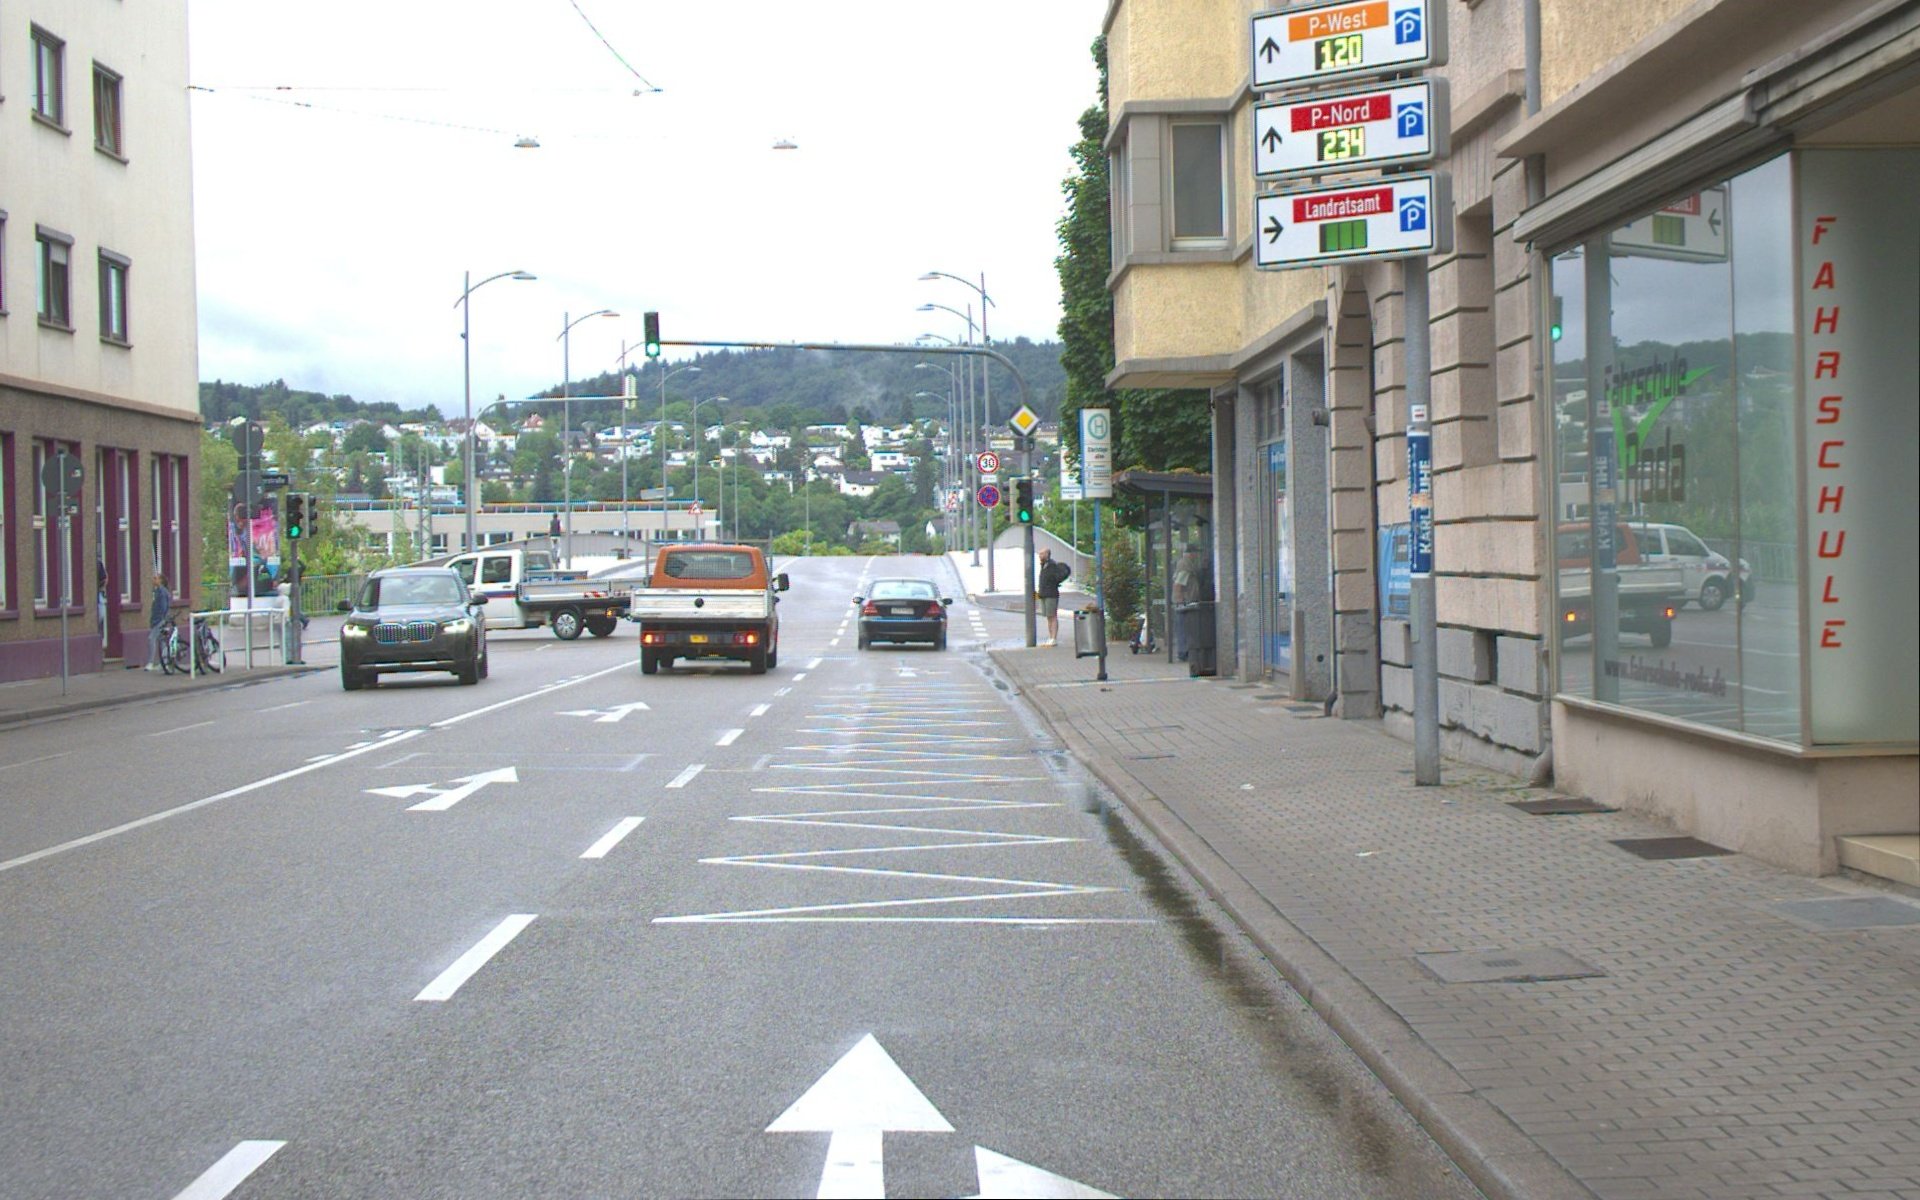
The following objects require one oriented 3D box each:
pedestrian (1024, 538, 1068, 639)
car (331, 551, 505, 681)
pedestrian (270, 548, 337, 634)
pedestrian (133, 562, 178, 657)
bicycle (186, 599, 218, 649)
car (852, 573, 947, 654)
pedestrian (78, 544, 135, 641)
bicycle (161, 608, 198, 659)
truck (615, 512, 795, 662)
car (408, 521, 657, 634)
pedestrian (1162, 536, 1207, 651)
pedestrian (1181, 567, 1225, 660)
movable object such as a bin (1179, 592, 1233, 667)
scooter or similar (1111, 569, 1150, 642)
[{"bbox_3d":[1.580,-0.208,63.269,0.733,1.835,0.631,-1,0,-2],"label":"pedestrian"},{"bbox_3d":[-7.712,0.201,49.325,1.930,1.751,4.573,-1,0,-3],"label":"car"},{"bbox_3d":[-15.592,-0.221,81.643,0.984,2.007,1.171,-1,0,36],"label":"pedestrian"},{"bbox_3d":[-13.256,0.153,56.666,0.574,1.548,0.740,-1,0,-4],"label":"pedestrian"},{"bbox_3d":[-12.183,0.381,55.250,0.264,0.780,1.111,-1,0,-1],"label":"bicycle"},{"bbox_3d":[-1.164,0.241,66.739,1.754,1.474,4.000,-1,0,-1],"label":"car"},{"bbox_3d":[-14.102,-0.128,56.796,0.773,1.572,0.588,-1,0,-1],"label":"pedestrian"},{"bbox_3d":[-12.500,0.533,55.076,0.264,0.780,1.422,-1,0,-1],"label":"bicycle"},{"bbox_3d":[-3.809,-0.206,52.277,2.399,2.122,5.315,-1,0,-1],"label":"truck"},{"bbox_3d":[-9.277,-0.479,74.639,4.999,2.342,1.998,-1,0,23],"label":"car"},{"bbox_3d":[3.328,-0.100,51.034,0.619,1.693,0.656,-1,0,3],"label":"pedestrian"},{"bbox_3d":[3.688,0.199,52.185,0.563,1.392,0.514,-1,0,-4],"label":"pedestrian"},{"bbox_3d":[3.078,0.365,43.020,0.600,0.923,0.704,-1,0,-1],"label":"movable object such as a bin"},{"bbox_3d":[2.771,0.084,55.881,0.511,1.168,1.549,-1,0,-1],"label":"scooter or similar"}]
